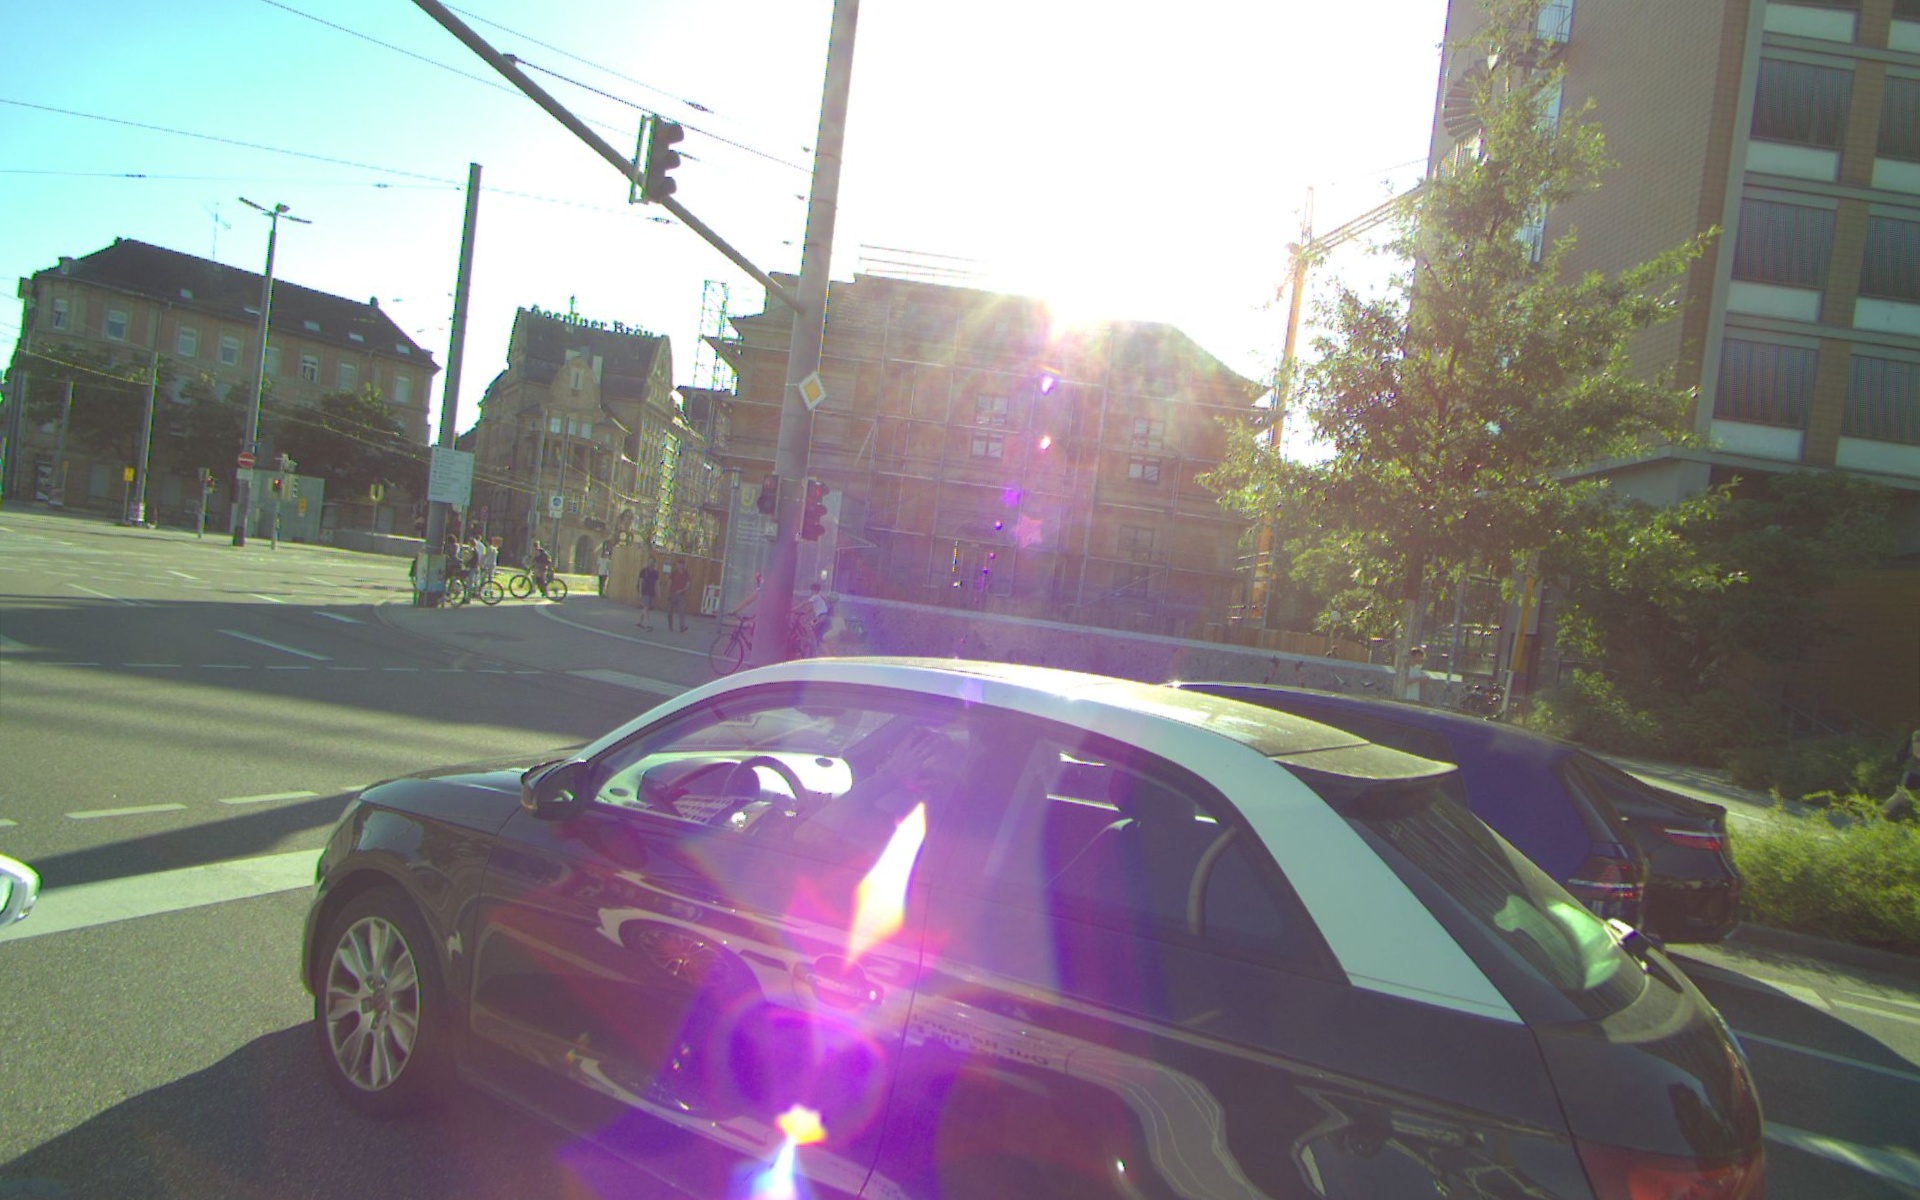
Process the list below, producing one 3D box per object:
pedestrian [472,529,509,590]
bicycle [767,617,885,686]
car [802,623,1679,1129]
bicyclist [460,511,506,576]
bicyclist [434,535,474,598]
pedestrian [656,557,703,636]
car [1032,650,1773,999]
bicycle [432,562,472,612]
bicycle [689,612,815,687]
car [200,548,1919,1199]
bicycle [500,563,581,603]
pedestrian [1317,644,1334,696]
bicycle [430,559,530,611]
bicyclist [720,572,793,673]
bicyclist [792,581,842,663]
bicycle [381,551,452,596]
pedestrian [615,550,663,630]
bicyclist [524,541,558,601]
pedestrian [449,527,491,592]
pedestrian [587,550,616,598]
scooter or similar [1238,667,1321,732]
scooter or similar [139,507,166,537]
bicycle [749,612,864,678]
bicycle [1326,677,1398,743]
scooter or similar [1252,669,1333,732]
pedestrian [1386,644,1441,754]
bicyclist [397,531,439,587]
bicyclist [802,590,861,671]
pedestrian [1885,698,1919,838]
[{"bbox_3d":[-16.026,-1.385,34.378,0.678,1.945,0.649,7,-1,25],"label":"pedestrian"},{"bbox_3d":[-2.396,0.895,17.890,1.999,0.976,0.659,6,2,27],"label":"bicycle"},{"bbox_3d":[1.265,1.100,5.361,3.934,1.420,1.627,6,-2,32],"label":"car"},{"bbox_3d":[-12.716,-1.496,26.810,0.936,1.575,0.706,8,-1,-27],"label":"bicyclist"},{"bbox_3d":[-12.662,-0.833,25.149,0.702,1.456,0.940,8,-1,-29],"label":"bicyclist"},{"bbox_3d":[-6.907,-0.077,24.758,0.672,1.828,0.672,7,-1,11],"label":"pedestrian"},{"bbox_3d":[2.966,1.388,7.472,4.435,1.420,1.727,6,-2,30],"label":"car"},{"bbox_3d":[-12.709,-0.350,25.144,0.693,1.061,2.303,9,-1,-29],"label":"bicycle"},{"bbox_3d":[-3.498,0.802,16.864,1.998,0.976,0.659,7,3,24],"label":"bicycle"},{"bbox_3d":[-0.211,0.804,2.808,3.934,1.420,1.627,6,-2,32],"label":"car"},{"bbox_3d":[-13.277,-0.527,31.905,2.289,1.063,0.532,5,2,-25],"label":"bicycle"},{"bbox_3d":[12.728,2.445,35.037,0.369,1.752,0.444,7,-1,17],"label":"pedestrian"},{"bbox_3d":[-12.785,-0.388,26.837,2.294,1.061,0.696,8,-2,-28],"label":"bicycle"},{"bbox_3d":[-3.402,0.383,16.836,0.780,1.571,0.668,7,-1,22],"label":"bicyclist"},{"bbox_3d":[-2.748,0.432,19.404,0.661,1.471,0.618,7,-1,4],"label":"bicyclist"},{"bbox_3d":[-16.882,-0.827,31.232,2.278,1.061,0.536,8,-1,24],"label":"bicycle"},{"bbox_3d":[-7.667,-0.231,24.024,0.672,1.830,0.672,7,2,11],"label":"pedestrian"},{"bbox_3d":[-13.289,-0.907,31.878,0.785,1.800,0.520,8,-1,-23],"label":"bicyclist"},{"bbox_3d":[-16.367,-1.342,33.632,0.748,2.037,0.733,7,-1,25],"label":"pedestrian"},{"bbox_3d":[-14.757,-1.060,41.413,0.678,1.835,0.649,7,-1,25],"label":"pedestrian"},{"bbox_3d":[5.937,1.843,18.708,1.348,1.007,0.342,7,-1,25],"label":"scooter or similar"},{"bbox_3d":[-42.160,-4.075,52.515,0.784,1.392,1.885,8,-2,-44],"label":"scooter or similar"},{"bbox_3d":[-2.945,0.851,19.386,1.997,0.976,0.660,7,2,5],"label":"bicycle"},{"bbox_3d":[7.238,1.969,18.144,0.352,1.015,1.149,8,-2,-29],"label":"bicycle"},{"bbox_3d":[6.349,1.906,19.249,1.346,1.007,0.343,7,-1,13],"label":"scooter or similar"},{"bbox_3d":[7.305,1.570,16.203,0.592,1.662,0.677,7,3,29],"label":"pedestrian"},{"bbox_3d":[-16.816,-1.272,31.235,0.930,1.575,0.516,7,-1,23],"label":"bicyclist"},{"bbox_3d":[-2.278,0.548,17.882,0.662,1.330,0.617,7,-1,27],"label":"bicyclist"},{"bbox_3d":[13.571,2.376,14.110,0.461,1.908,0.687,8,-1,-41],"label":"pedestrian"}]
